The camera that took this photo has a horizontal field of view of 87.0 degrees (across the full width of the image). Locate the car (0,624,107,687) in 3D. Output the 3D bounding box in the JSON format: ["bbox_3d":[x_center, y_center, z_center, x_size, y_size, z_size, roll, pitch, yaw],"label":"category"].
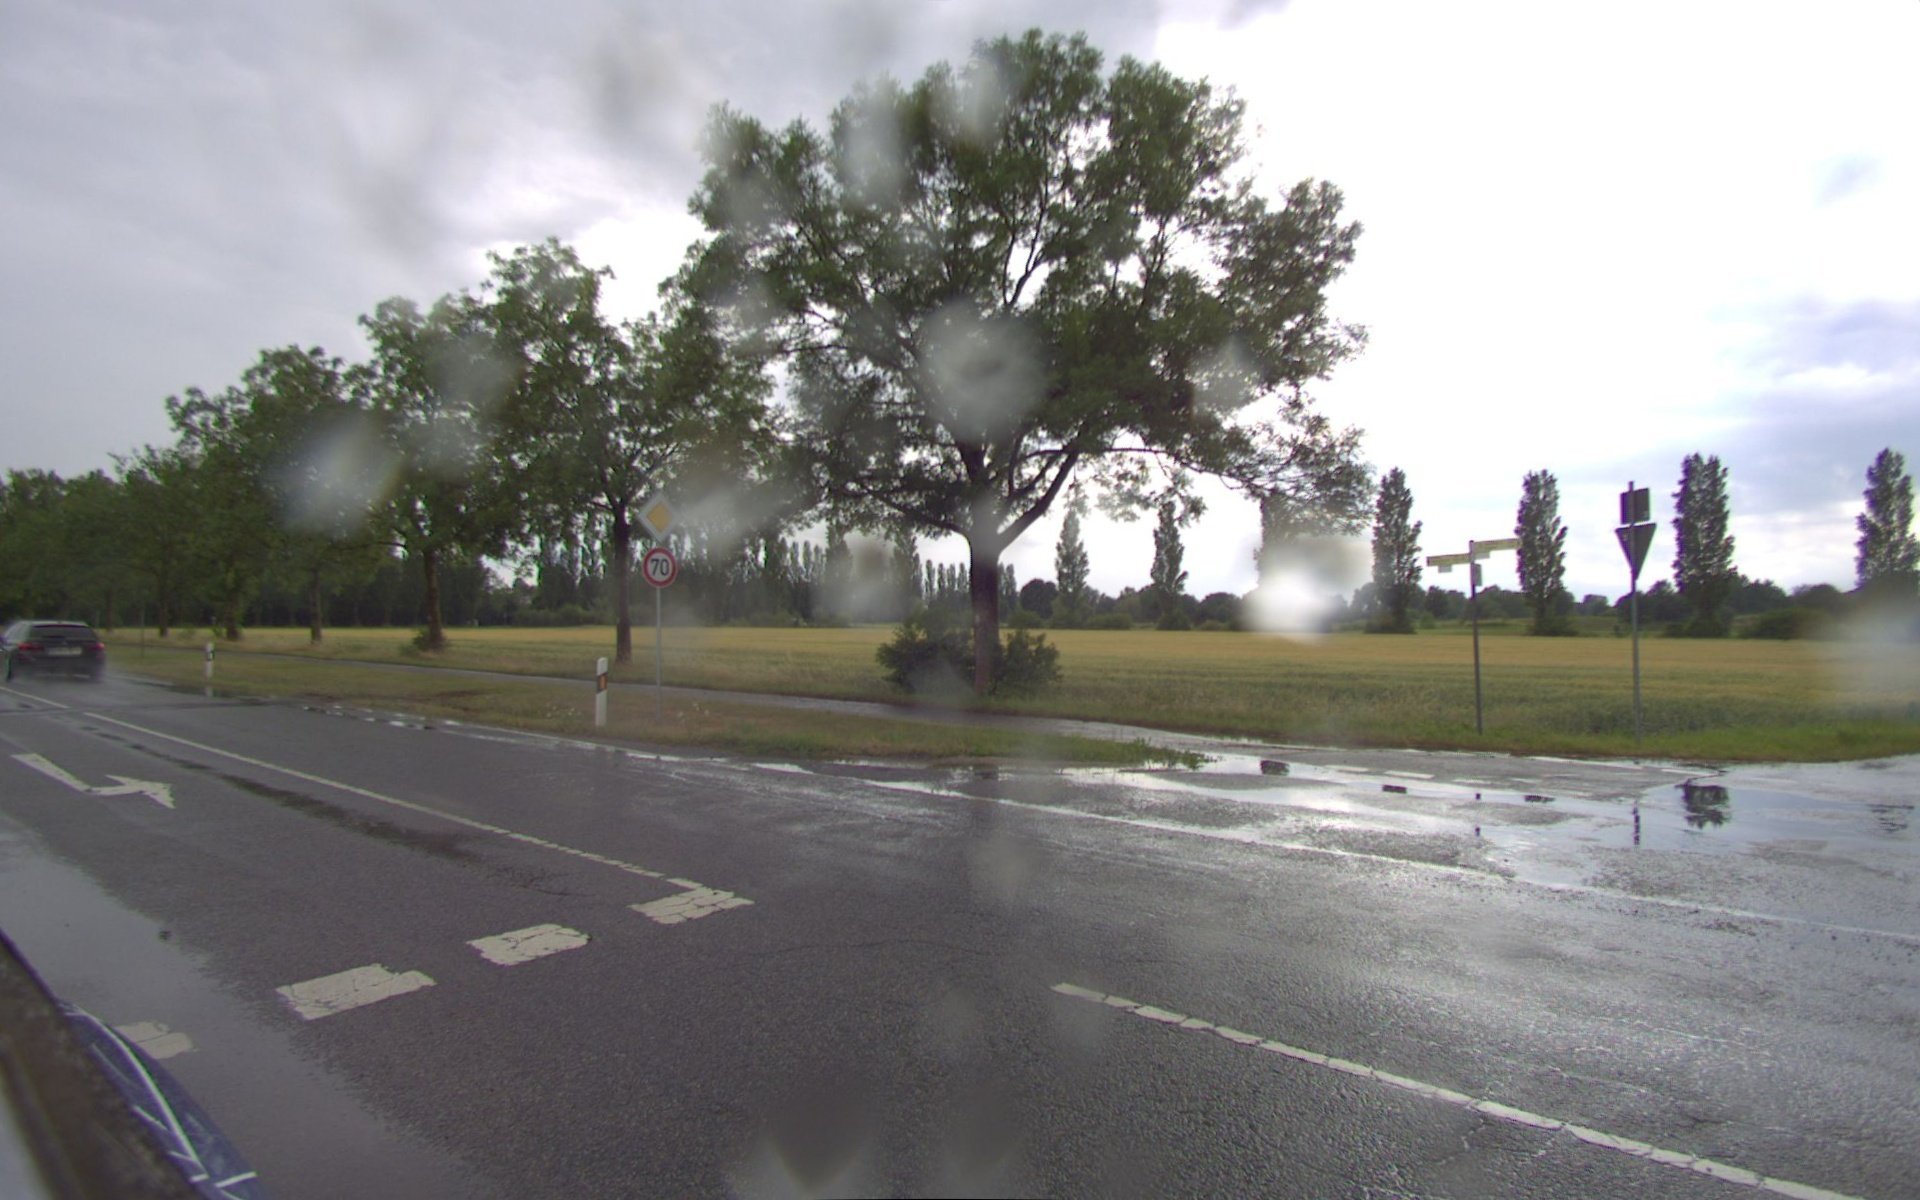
[{"bbox_3d":[-23.026,1.347,25.320,4.408,1.449,1.748,-1,-3,39],"label":"car"}]
